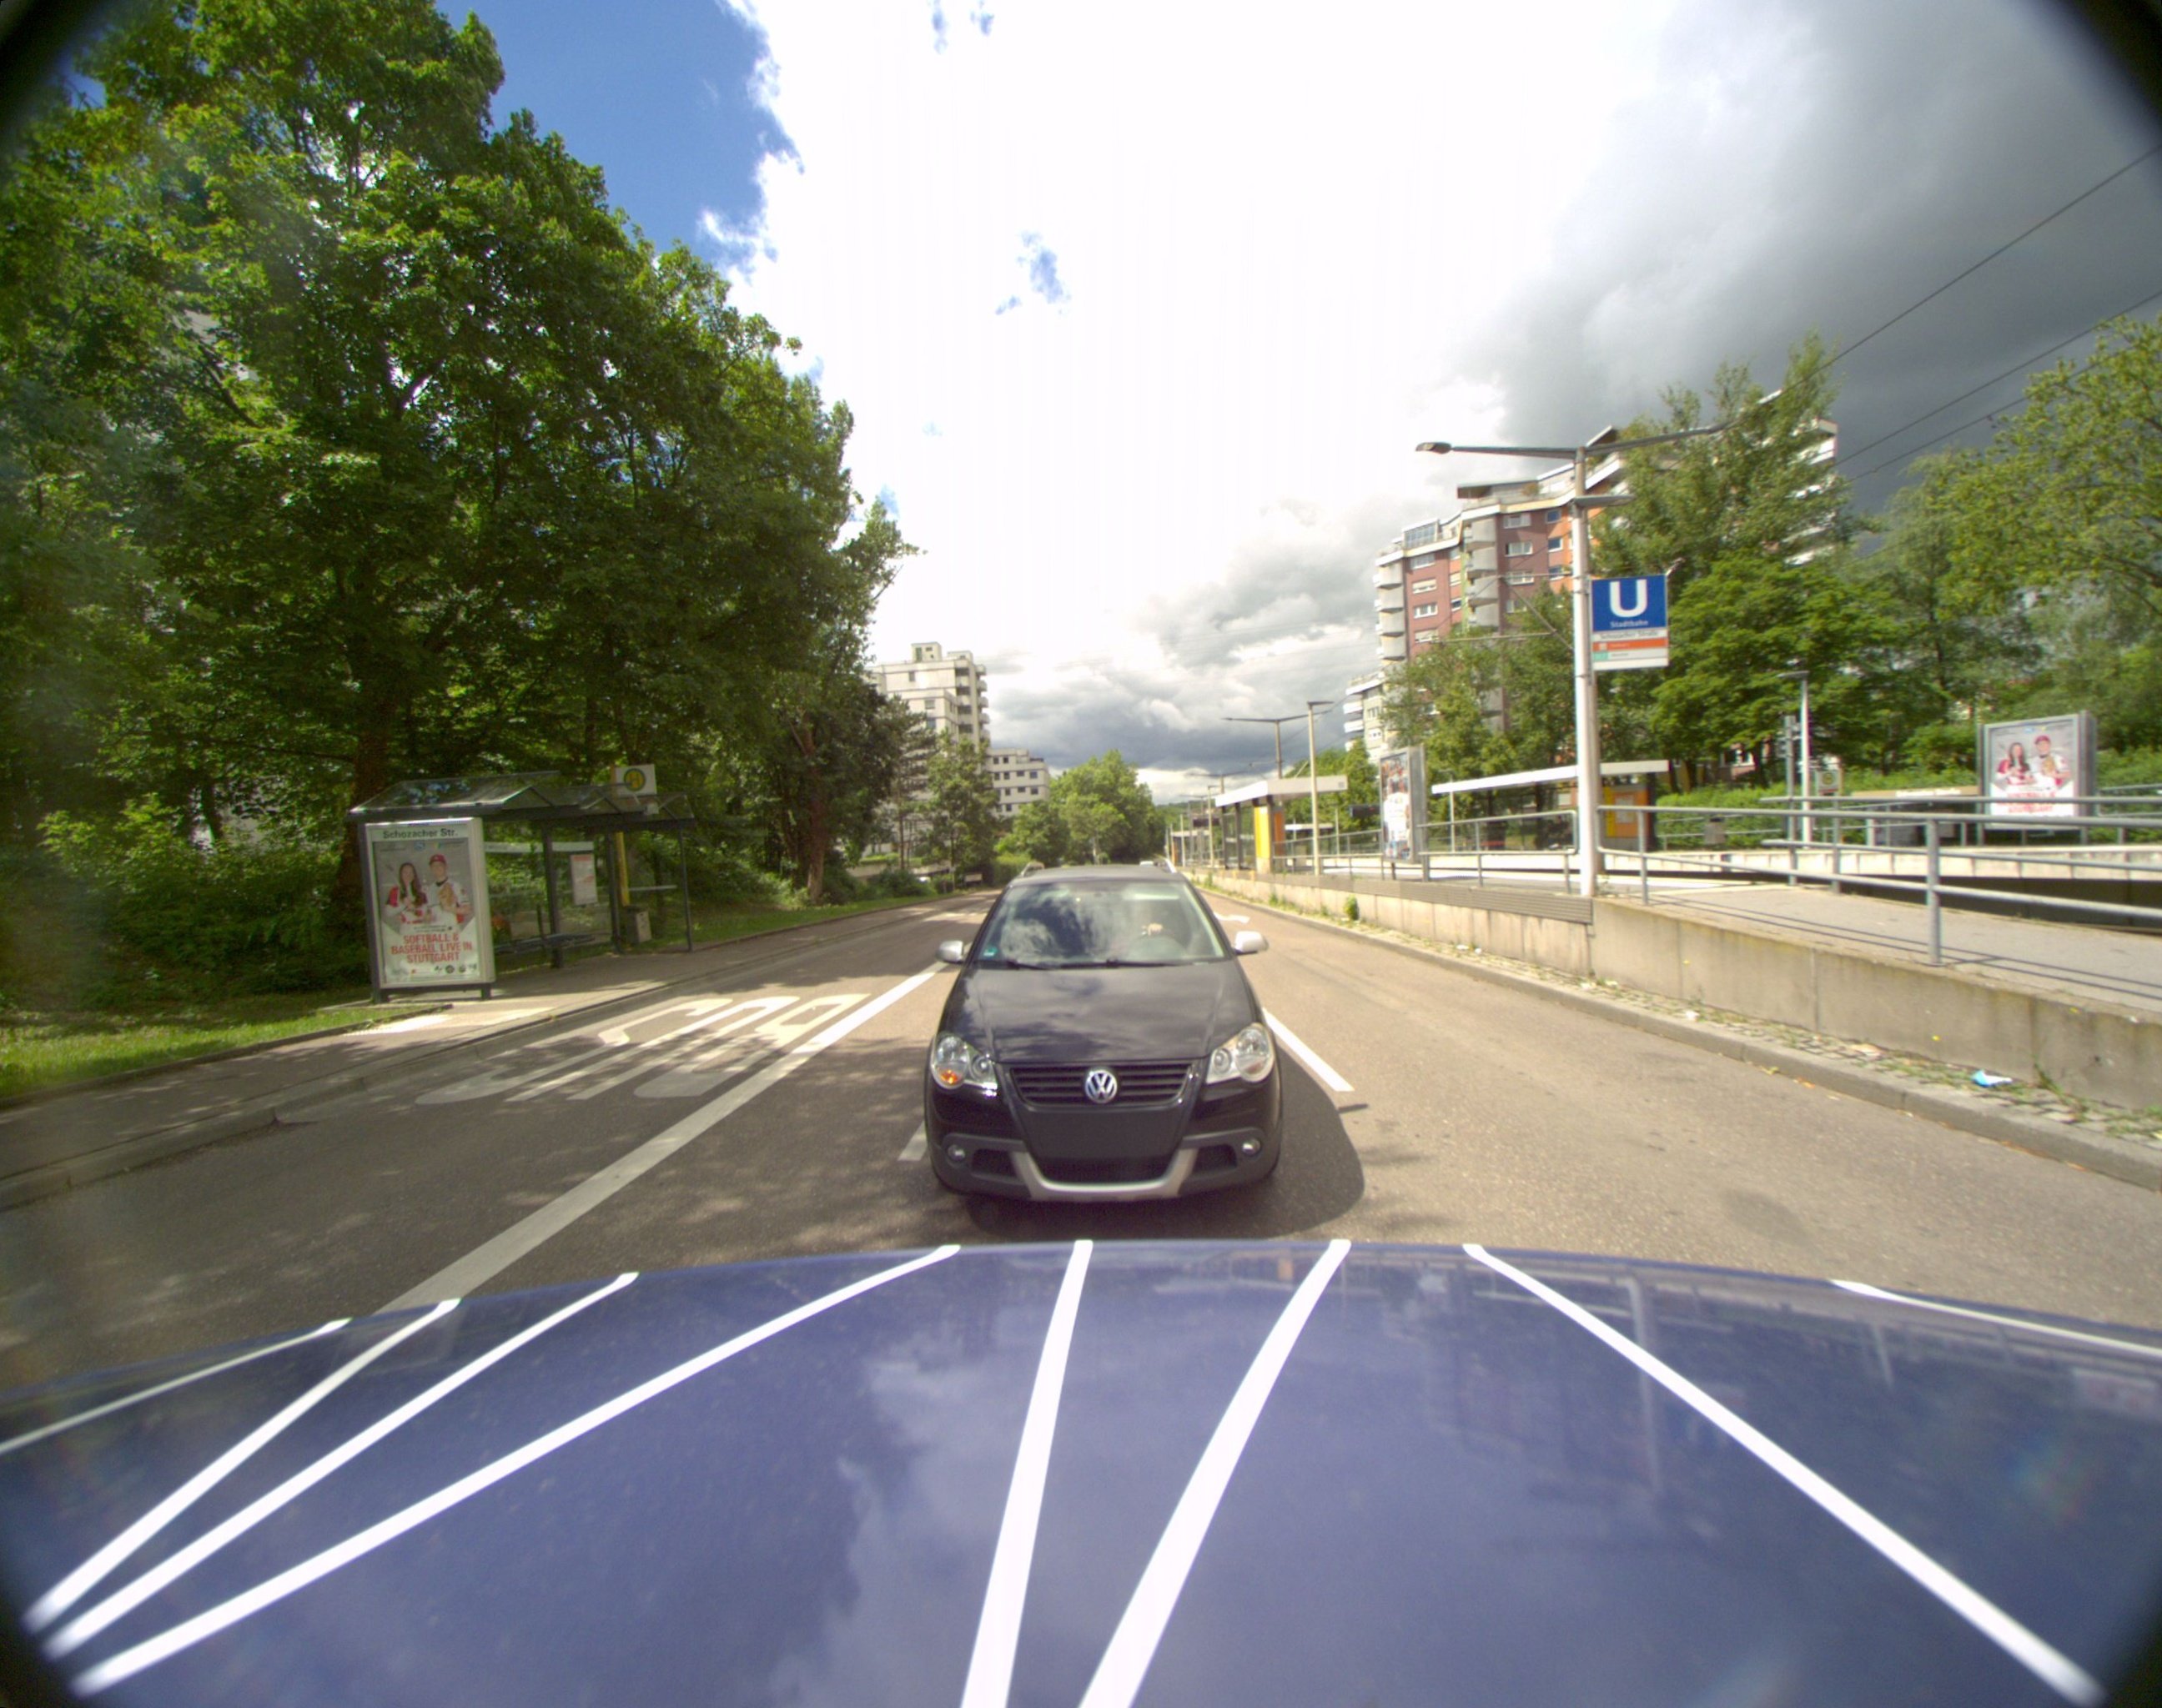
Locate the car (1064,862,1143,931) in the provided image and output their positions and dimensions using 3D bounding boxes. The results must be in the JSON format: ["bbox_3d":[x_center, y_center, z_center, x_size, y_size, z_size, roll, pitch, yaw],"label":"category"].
[{"bbox_3d":[0.540,0.990,19.168,1.732,1.453,4.000,-2,0,1],"label":"car"}]

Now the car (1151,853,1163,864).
[{"bbox_3d":[11.901,0.687,119.352,1.732,1.505,4.001,-2,0,6],"label":"car"}]

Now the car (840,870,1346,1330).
[{"bbox_3d":[0.080,0.921,4.694,1.732,1.501,4.000,-2,0,1],"label":"car"}]

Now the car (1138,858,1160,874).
[{"bbox_3d":[6.553,1.138,73.594,1.732,1.453,4.000,-2,0,1],"label":"car"}]
